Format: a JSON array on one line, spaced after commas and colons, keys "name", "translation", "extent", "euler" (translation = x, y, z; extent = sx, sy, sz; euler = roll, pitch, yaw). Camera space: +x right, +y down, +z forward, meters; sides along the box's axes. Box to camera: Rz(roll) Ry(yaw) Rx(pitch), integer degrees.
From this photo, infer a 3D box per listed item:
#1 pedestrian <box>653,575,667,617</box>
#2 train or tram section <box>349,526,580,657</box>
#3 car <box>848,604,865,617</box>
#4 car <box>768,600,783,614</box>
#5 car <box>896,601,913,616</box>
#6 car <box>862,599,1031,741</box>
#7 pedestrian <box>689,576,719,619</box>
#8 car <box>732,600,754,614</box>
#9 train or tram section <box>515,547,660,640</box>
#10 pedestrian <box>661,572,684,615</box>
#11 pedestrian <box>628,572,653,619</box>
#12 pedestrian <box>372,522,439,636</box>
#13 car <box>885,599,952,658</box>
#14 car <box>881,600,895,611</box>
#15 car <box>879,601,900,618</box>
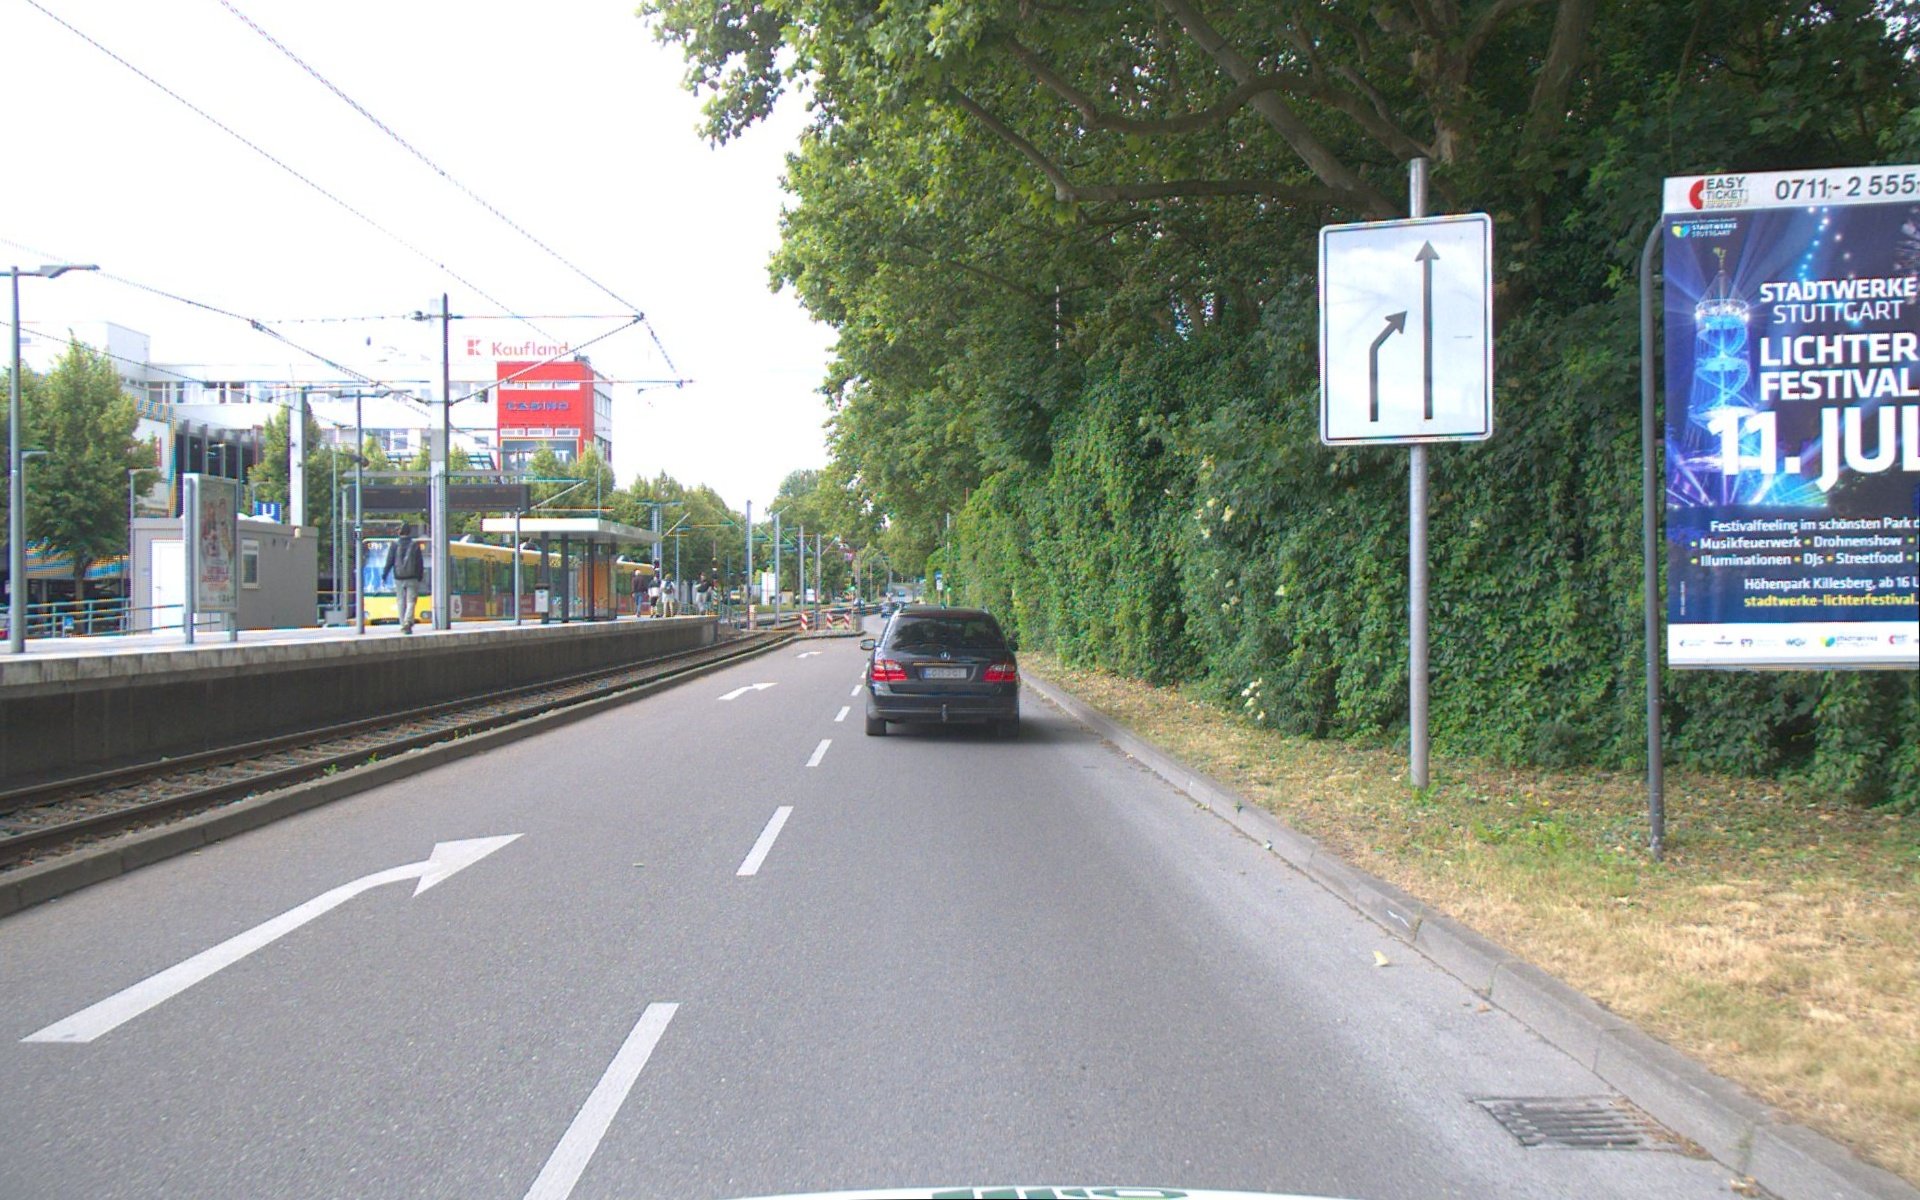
[{"name": "pedestrian", "translation": [-10.919, -0.139, 60.128], "extent": [0.467, 1.509, 0.541], "euler": [-2, -1, -11]}, {"name": "train or tram section", "translation": [-17.288, -0.254, 59.915], "extent": [2.700, 3.951, 18.630], "euler": [-1, 0, 0]}, {"name": "car", "translation": [-12.097, 1.228, 193.131], "extent": [1.788, 1.557, 3.927], "euler": [1, 0, 0]}, {"name": "car", "translation": [-27.636, 1.030, 247.500], "extent": [1.953, 2.049, 3.998], "euler": [-2, 0, -2]}, {"name": "car", "translation": [-6.032, 0.951, 180.674], "extent": [1.788, 1.557, 3.927], "euler": [1, 0, 0]}, {"name": "car", "translation": [-0.190, 0.767, 19.990], "extent": [1.796, 1.504, 4.414], "euler": [1, 0, -1]}, {"name": "pedestrian", "translation": [-10.208, -0.105, 65.878], "extent": [0.732, 1.707, 0.871], "euler": [-2, -1, 42]}, {"name": "car", "translation": [-28.407, 0.877, 216.472], "extent": [1.952, 1.773, 4.989], "euler": [-1, 0, 2]}, {"name": "train or tram section", "translation": [-17.287, -0.157, 78.620], "extent": [2.700, 3.896, 18.628], "euler": [-1, -1, 0]}, {"name": "pedestrian", "translation": [-10.339, -0.226, 59.479], "extent": [0.510, 1.508, 0.579], "euler": [-2, -1, 36]}, {"name": "pedestrian", "translation": [-11.697, -0.154, 60.574], "extent": [0.755, 1.707, 0.790], "euler": [-2, -1, -2]}, {"name": "pedestrian", "translation": [-8.880, -0.328, 26.517], "extent": [0.733, 1.775, 0.936], "euler": [-2, -1, -2]}, {"name": "car", "translation": [-1.199, 0.765, 46.475], "extent": [1.789, 1.557, 4.413], "euler": [0, 0, -2]}, {"name": "car", "translation": [-10.366, 0.811, 237.324], "extent": [1.788, 1.557, 3.985], "euler": [1, 0, 0]}, {"name": "car", "translation": [-6.677, 0.913, 157.202], "extent": [1.788, 1.557, 4.415], "euler": [0, 0, 0]}]
